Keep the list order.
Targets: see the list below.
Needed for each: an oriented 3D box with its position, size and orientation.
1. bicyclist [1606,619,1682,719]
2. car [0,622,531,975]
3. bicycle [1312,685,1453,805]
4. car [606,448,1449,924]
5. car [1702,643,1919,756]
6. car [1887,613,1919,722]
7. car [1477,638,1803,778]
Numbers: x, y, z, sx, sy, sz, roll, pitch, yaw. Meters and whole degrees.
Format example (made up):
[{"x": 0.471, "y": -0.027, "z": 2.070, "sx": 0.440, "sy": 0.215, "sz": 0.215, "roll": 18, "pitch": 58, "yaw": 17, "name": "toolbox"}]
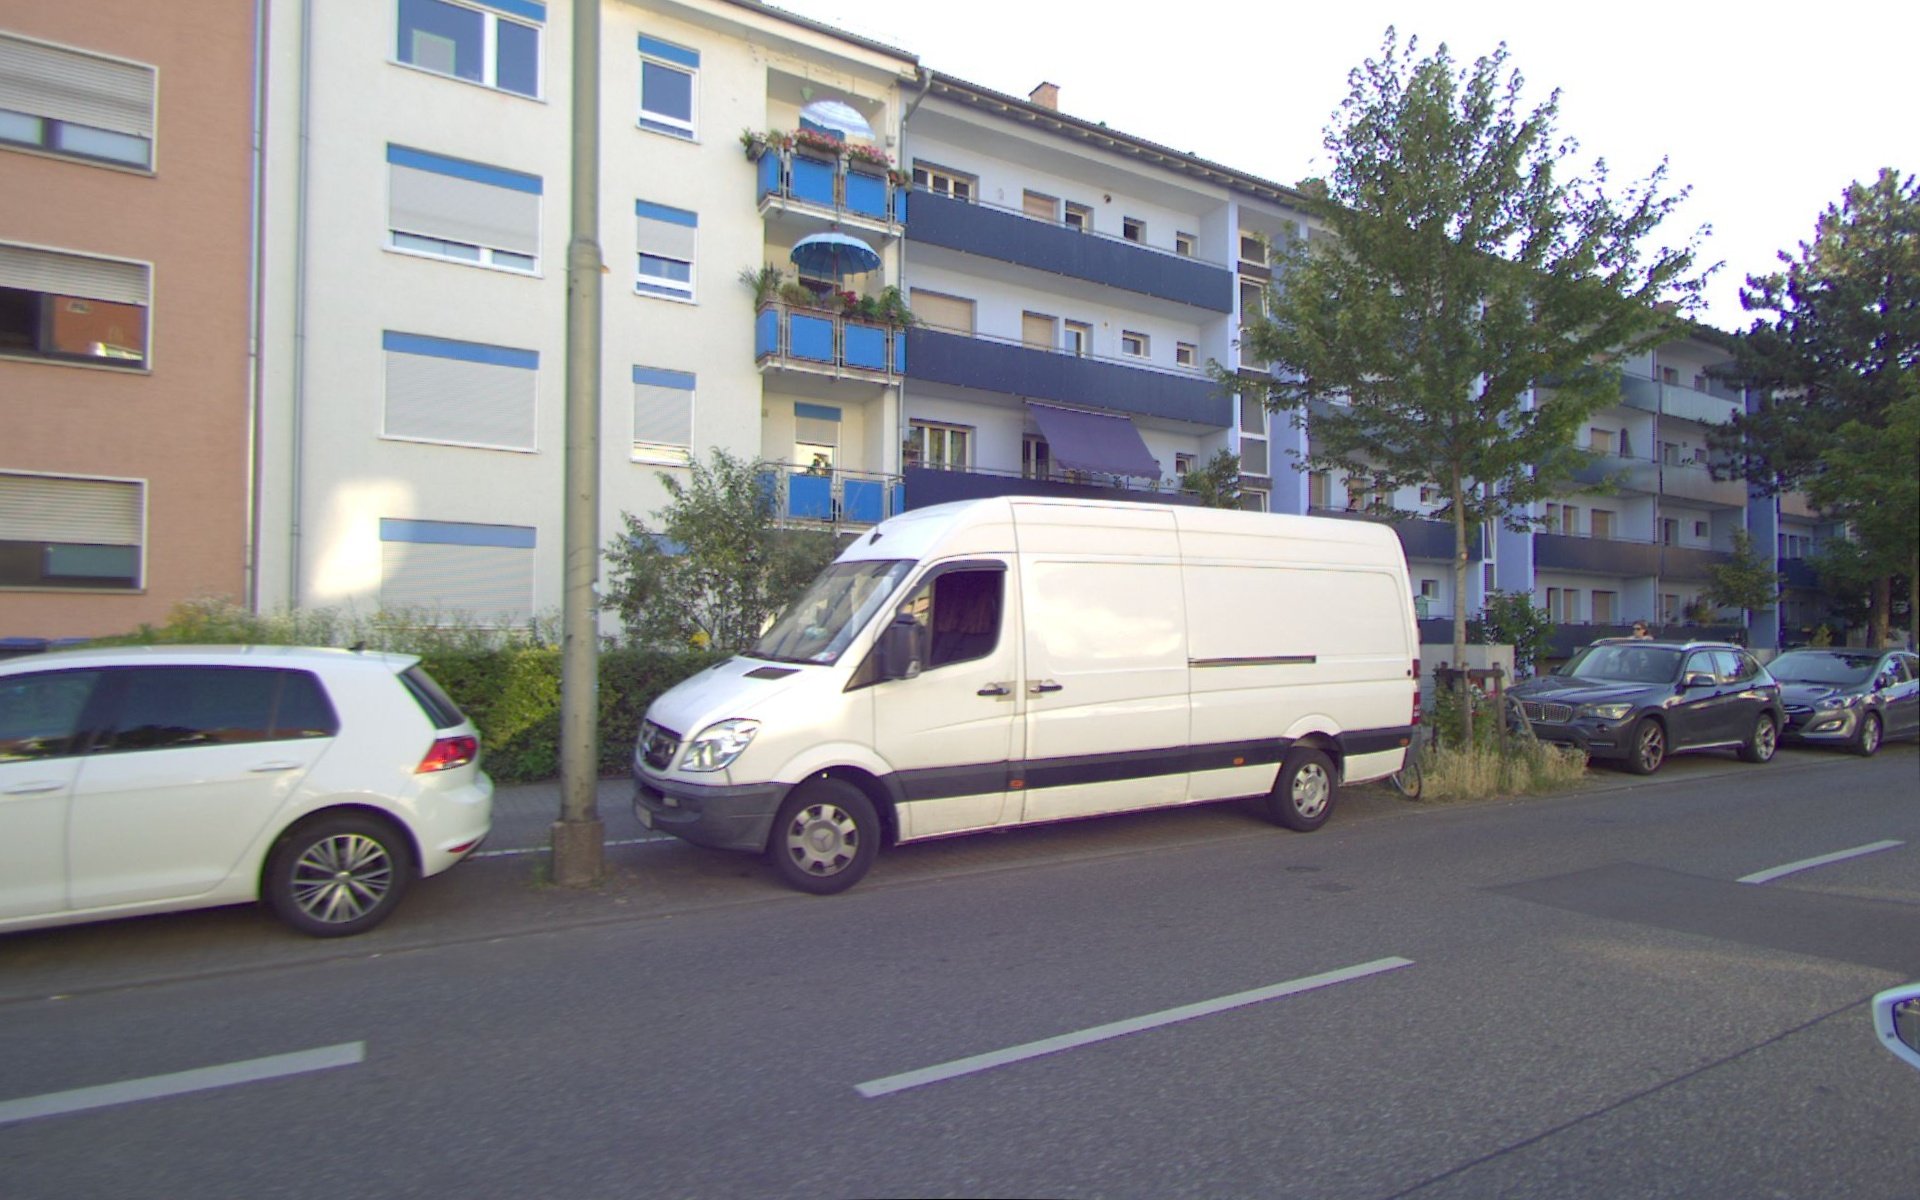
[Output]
[{"x": 11.337, "y": 1.128, "z": 16.657, "sx": 0.926, "sy": 1.614, "sz": 0.602, "roll": 1, "pitch": -2, "yaw": -22, "name": "bicyclist"}, {"x": -4.540, "y": 0.908, "z": 5.302, "sx": 4.010, "sy": 1.512, "sz": 1.698, "roll": 2, "pitch": 0, "yaw": -30, "name": "car"}, {"x": 4.286, "y": 1.439, "z": 10.288, "sx": 0.433, "sy": 1.028, "sz": 1.469, "roll": 1, "pitch": -1, "yaw": -22, "name": "bicycle"}, {"x": 0.952, "y": 0.568, "z": 8.251, "sx": 7.022, "sy": 2.651, "sz": 1.984, "roll": 2, "pitch": -1, "yaw": -31, "name": "car"}, {"x": 13.325, "y": 1.422, "z": 15.276, "sx": 4.091, "sy": 1.503, "sz": 1.686, "roll": 2, "pitch": -2, "yaw": -28, "name": "car"}, {"x": 20.620, "y": 1.328, "z": 19.933, "sx": 5.239, "sy": 2.058, "sz": 1.860, "roll": 2, "pitch": -1, "yaw": -31, "name": "car"}, {"x": 8.882, "y": 1.290, "z": 13.054, "sx": 4.418, "sy": 1.563, "sz": 1.665, "roll": 2, "pitch": -2, "yaw": -28, "name": "car"}]
